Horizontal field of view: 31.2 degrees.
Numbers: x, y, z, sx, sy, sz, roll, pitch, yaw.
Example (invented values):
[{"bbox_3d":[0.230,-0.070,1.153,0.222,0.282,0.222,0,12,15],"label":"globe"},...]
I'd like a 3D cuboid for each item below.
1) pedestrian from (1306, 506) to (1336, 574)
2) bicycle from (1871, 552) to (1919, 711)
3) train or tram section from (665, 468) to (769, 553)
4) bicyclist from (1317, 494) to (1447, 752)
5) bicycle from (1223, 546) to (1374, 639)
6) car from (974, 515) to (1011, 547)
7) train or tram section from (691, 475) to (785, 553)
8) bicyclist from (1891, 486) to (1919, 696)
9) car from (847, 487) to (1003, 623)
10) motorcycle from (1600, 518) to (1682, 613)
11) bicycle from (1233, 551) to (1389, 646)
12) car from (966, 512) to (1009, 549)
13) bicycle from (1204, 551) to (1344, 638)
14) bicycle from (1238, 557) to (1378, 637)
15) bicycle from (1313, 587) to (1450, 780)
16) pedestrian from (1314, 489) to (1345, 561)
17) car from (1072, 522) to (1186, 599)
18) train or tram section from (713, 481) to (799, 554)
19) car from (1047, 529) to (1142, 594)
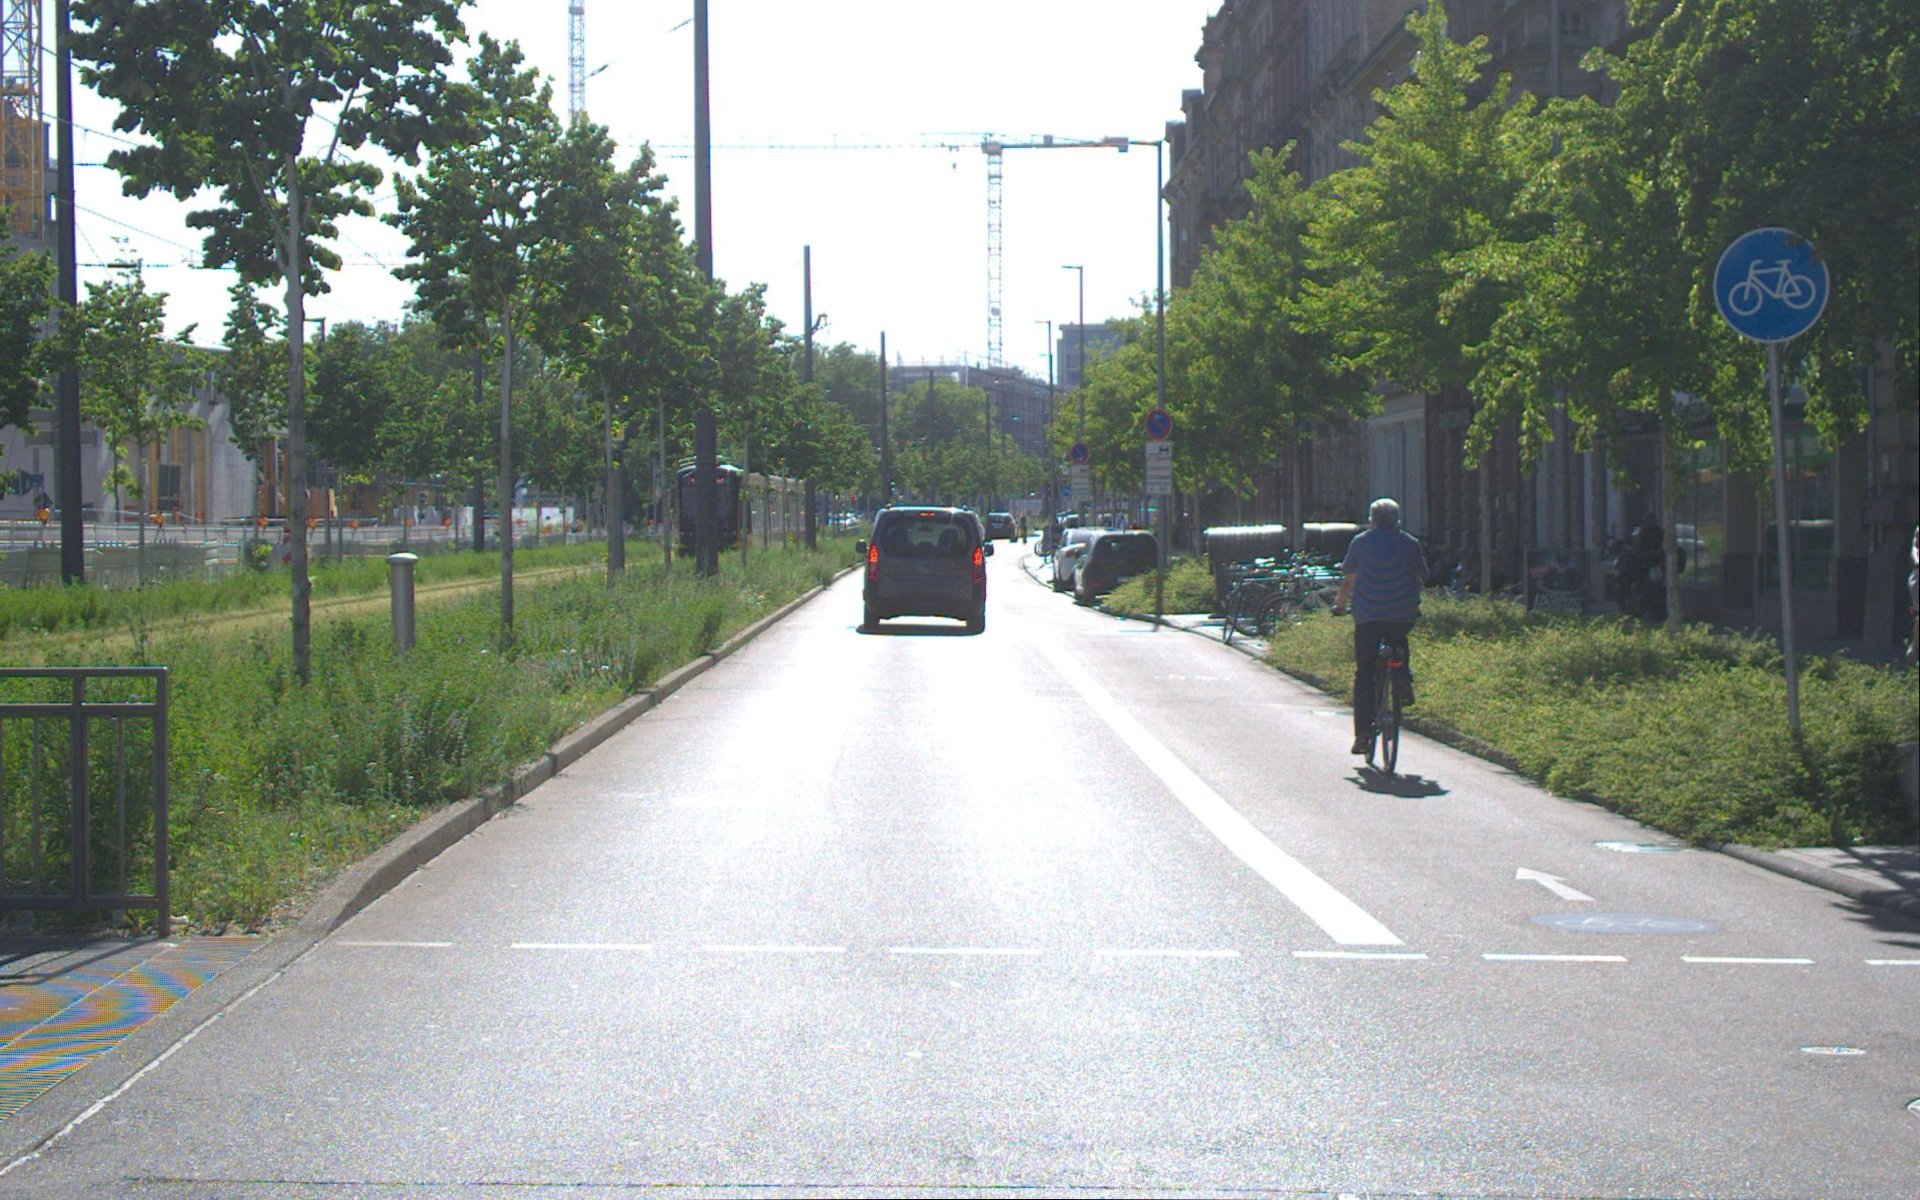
[{"bbox_3d":[8.637,-1.440,82.271,0.614,1.606,0.669,0,1,-1],"label":"pedestrian"},{"bbox_3d":[7.766,0.242,27.232,0.583,1.218,1.900,0,2,-1],"label":"bicycle"},{"bbox_3d":[-8.290,-3.017,118.334,2.756,2.733,9.864,1,1,0],"label":"train or tram section"},{"bbox_3d":[2.806,0.141,22.945,0.684,1.667,0.922,2,1,-1],"label":"bicyclist"},{"bbox_3d":[4.301,-0.096,43.783,1.792,1.027,0.527,-5,1,0],"label":"bicycle"},{"bbox_3d":[1.885,-3.999,199.910,1.993,1.831,4.000,1,1,-1],"label":"car"},{"bbox_3d":[-8.206,-3.140,128.181,2.756,2.733,9.864,1,1,0],"label":"train or tram section"},{"bbox_3d":[7.794,-0.083,27.059,0.666,1.633,0.960,0,1,-1],"label":"bicyclist"},{"bbox_3d":[-0.532,-0.695,51.342,2.200,1.919,4.654,-1,1,-1],"label":"car"},{"bbox_3d":[9.307,-0.490,47.058,0.700,1.263,1.982,-1,2,-1],"label":"motorcycle"},{"bbox_3d":[4.328,-0.022,42.411,1.792,1.027,0.527,-5,1,0],"label":"bicycle"},{"bbox_3d":[1.346,-3.418,169.199,1.993,1.723,4.000,1,1,-1],"label":"car"},{"bbox_3d":[4.277,-0.080,46.869,1.792,1.027,0.527,-5,1,0],"label":"bicycle"},{"bbox_3d":[4.585,-0.041,45.352,1.792,1.027,0.527,0,1,-1],"label":"bicycle"},{"bbox_3d":[2.775,0.528,22.797,0.601,1.177,1.869,2,1,-1],"label":"bicycle"},{"bbox_3d":[8.277,-1.687,77.027,0.614,1.606,0.669,0,1,-1],"label":"pedestrian"},{"bbox_3d":[3.419,-0.825,70.264,2.028,1.493,4.654,-1,1,-1],"label":"car"},{"bbox_3d":[-8.115,-3.263,138.004,2.756,2.733,9.864,1,1,0],"label":"train or tram section"},{"bbox_3d":[3.195,-0.955,82.574,2.028,1.493,4.530,-1,1,-1],"label":"car"}]
